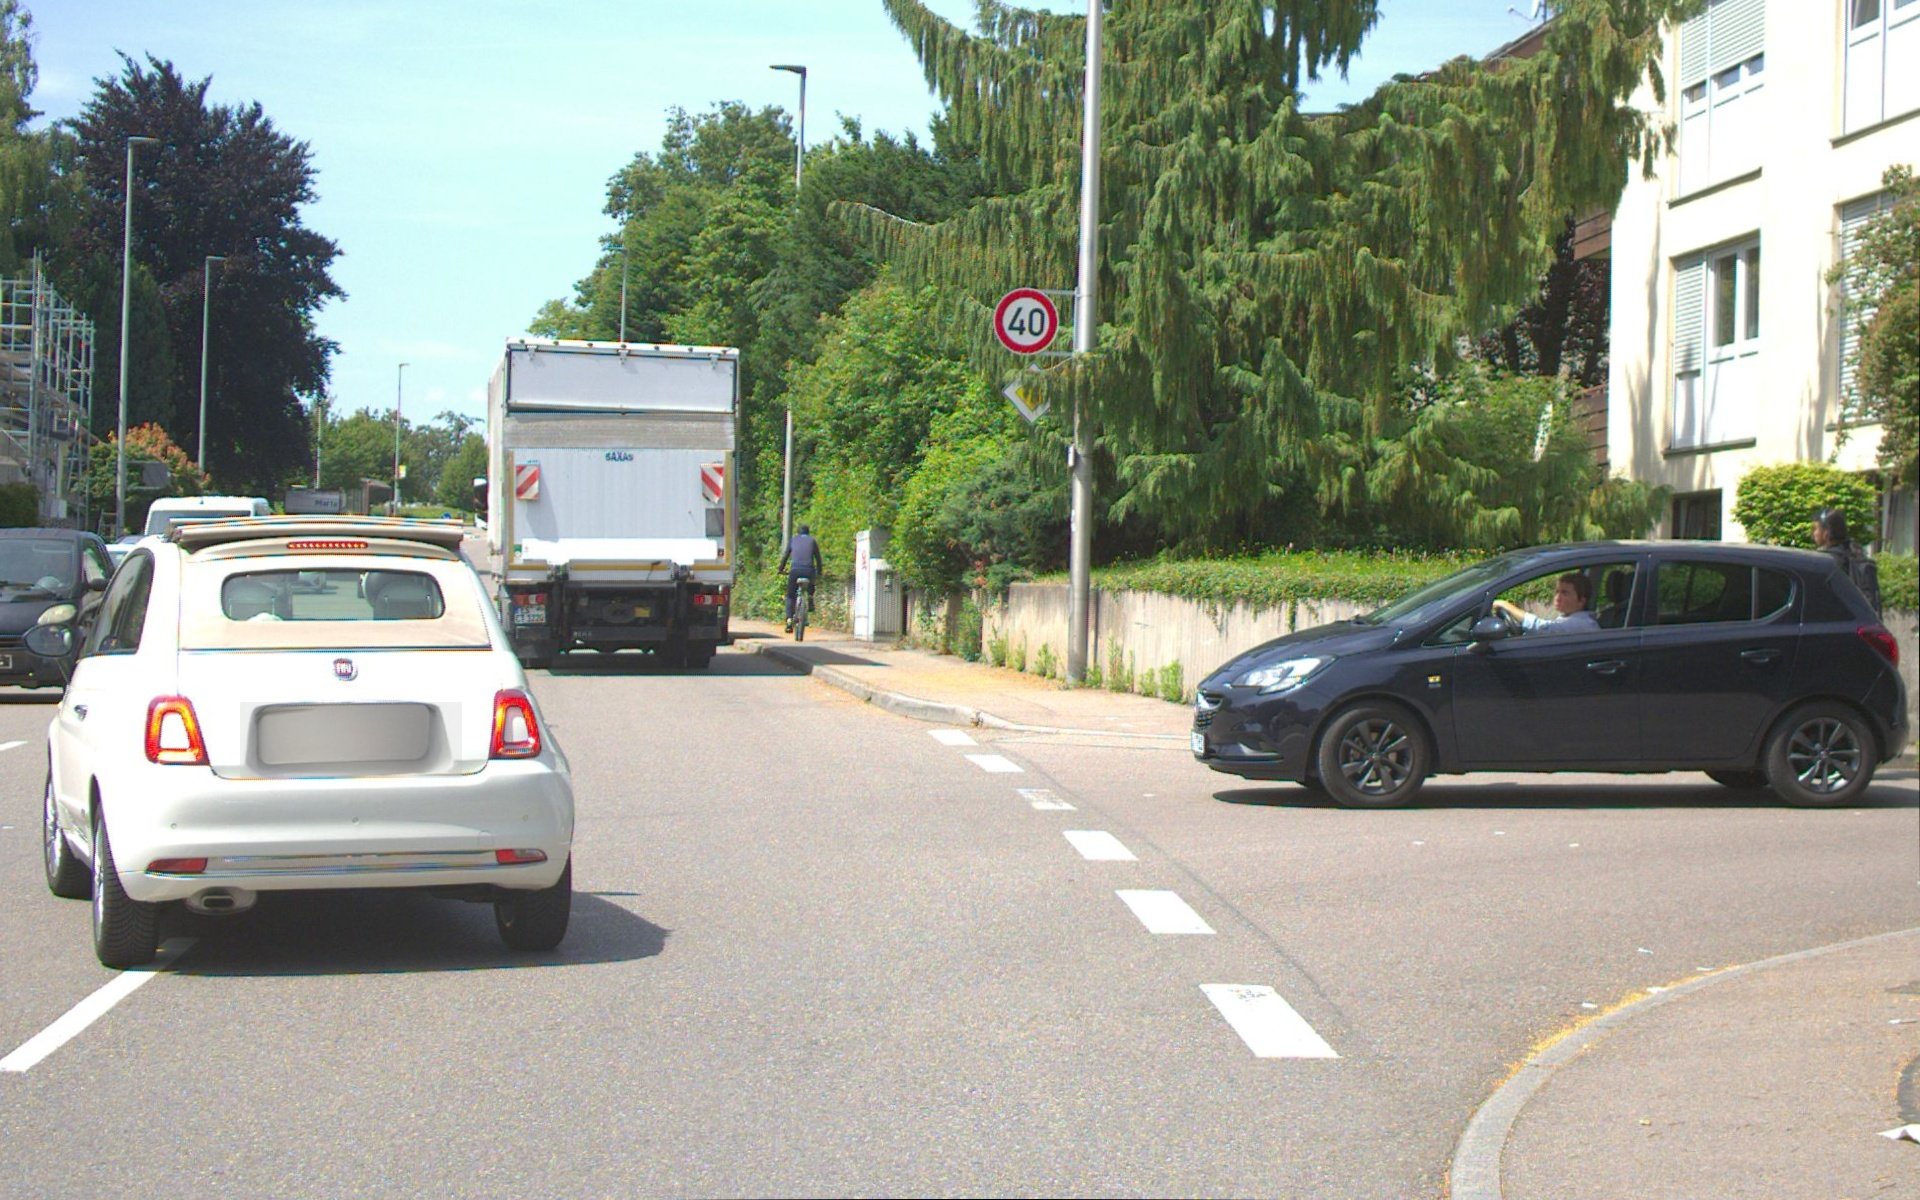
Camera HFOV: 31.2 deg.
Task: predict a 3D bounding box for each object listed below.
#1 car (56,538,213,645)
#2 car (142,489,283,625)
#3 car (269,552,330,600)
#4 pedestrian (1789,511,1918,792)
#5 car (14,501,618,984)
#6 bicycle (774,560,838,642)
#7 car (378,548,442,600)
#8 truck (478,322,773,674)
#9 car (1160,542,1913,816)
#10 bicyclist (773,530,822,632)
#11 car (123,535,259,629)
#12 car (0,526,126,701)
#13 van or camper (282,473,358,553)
[{"bbox_3d":[-11.374,-0.140,47.593,1.804,1.393,4.001,1,1,-9],"label":"car"},{"bbox_3d":[-12.788,-0.758,59.081,2.036,2.192,5.584,1,1,-9],"label":"car"},{"bbox_3d":[-21.171,-0.763,110.274,1.477,1.489,3.080,1,1,-2],"label":"car"},{"bbox_3d":[5.452,0.301,20.961,0.697,1.666,0.569,2,1,17],"label":"pedestrian"},{"bbox_3d":[-2.621,0.423,13.237,1.724,1.555,4.001,0,1,-19],"label":"car"},{"bbox_3d":[-2.196,0.004,48.755,0.668,1.100,2.426,2,1,-8],"label":"bicycle"},{"bbox_3d":[-16.974,-0.811,106.168,1.833,1.529,4.001,2,0,-8],"label":"car"},{"bbox_3d":[-4.144,-1.145,40.987,3.068,3.761,7.870,1,1,-8],"label":"truck"},{"bbox_3d":[3.196,0.420,19.546,3.933,1.453,1.659,1,1,-3],"label":"car"},{"bbox_3d":[-2.311,-0.276,48.776,0.588,1.408,0.742,2,1,-7],"label":"bicyclist"},{"bbox_3d":[-11.943,-0.304,53.574,1.804,1.393,3.969,1,1,-9],"label":"car"},{"bbox_3d":[-8.452,0.089,31.006,1.480,1.505,2.801,0,1,-7],"label":"car"},{"bbox_3d":[-24.700,-3.345,132.875,2.264,2.952,5.889,2,1,-5],"label":"van or camper"}]
